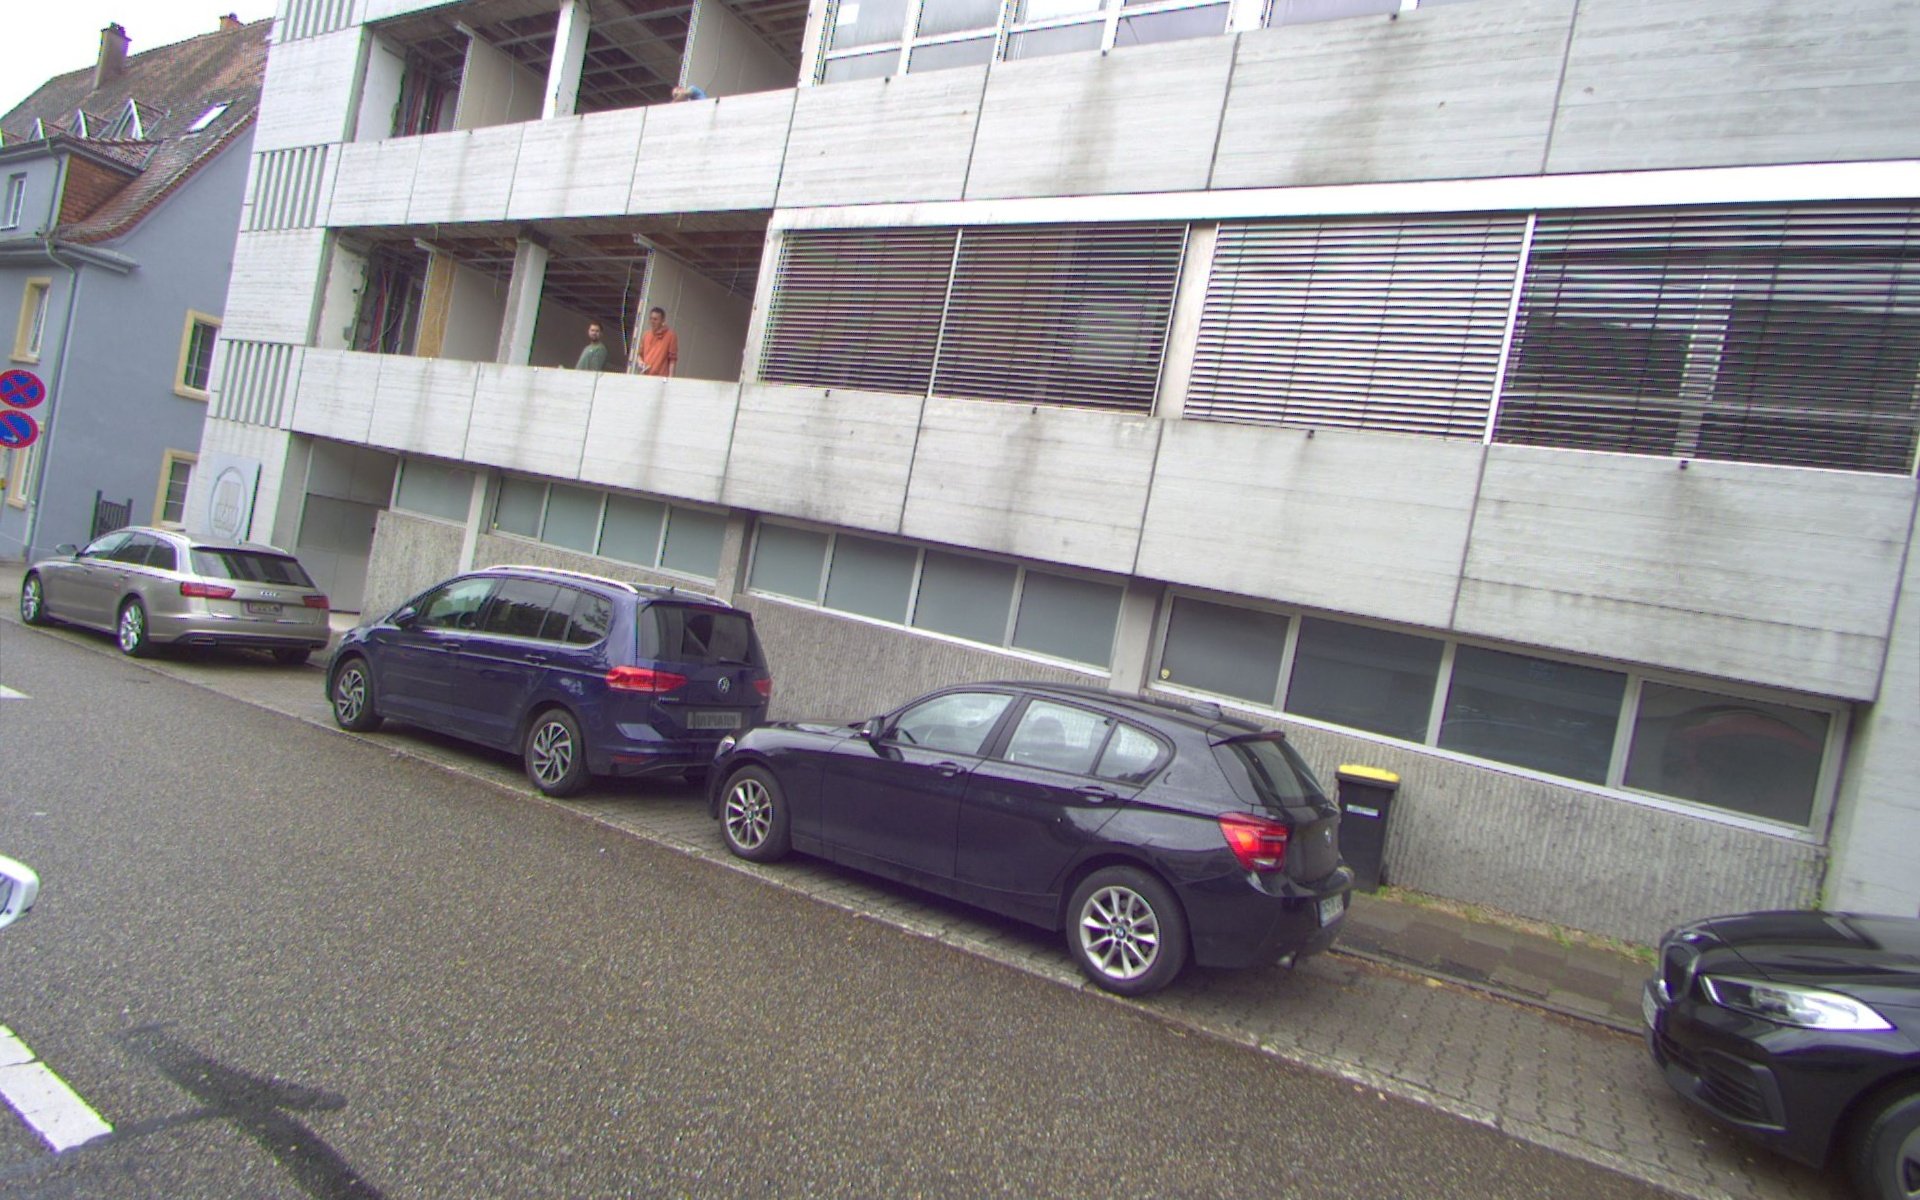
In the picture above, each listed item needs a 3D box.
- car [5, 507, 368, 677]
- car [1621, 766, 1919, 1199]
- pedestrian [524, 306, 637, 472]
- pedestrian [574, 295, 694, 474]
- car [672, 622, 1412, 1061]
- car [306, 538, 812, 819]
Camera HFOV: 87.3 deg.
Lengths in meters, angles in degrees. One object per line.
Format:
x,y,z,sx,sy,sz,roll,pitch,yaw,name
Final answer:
-9.792,-0.125,12.673,4.449,1.465,1.967,7,-1,30,car
5.099,1.781,3.532,4.367,1.452,1.997,7,-1,30,car
-5.256,-2.886,13.955,0.847,2.036,0.909,6,-2,31,pedestrian
-4.208,-2.744,13.013,0.847,2.036,0.909,6,-2,31,pedestrian
0.347,1.167,6.309,4.183,1.465,1.750,7,-1,34,car
-3.517,0.555,8.649,4.090,1.618,1.732,7,-1,30,car
